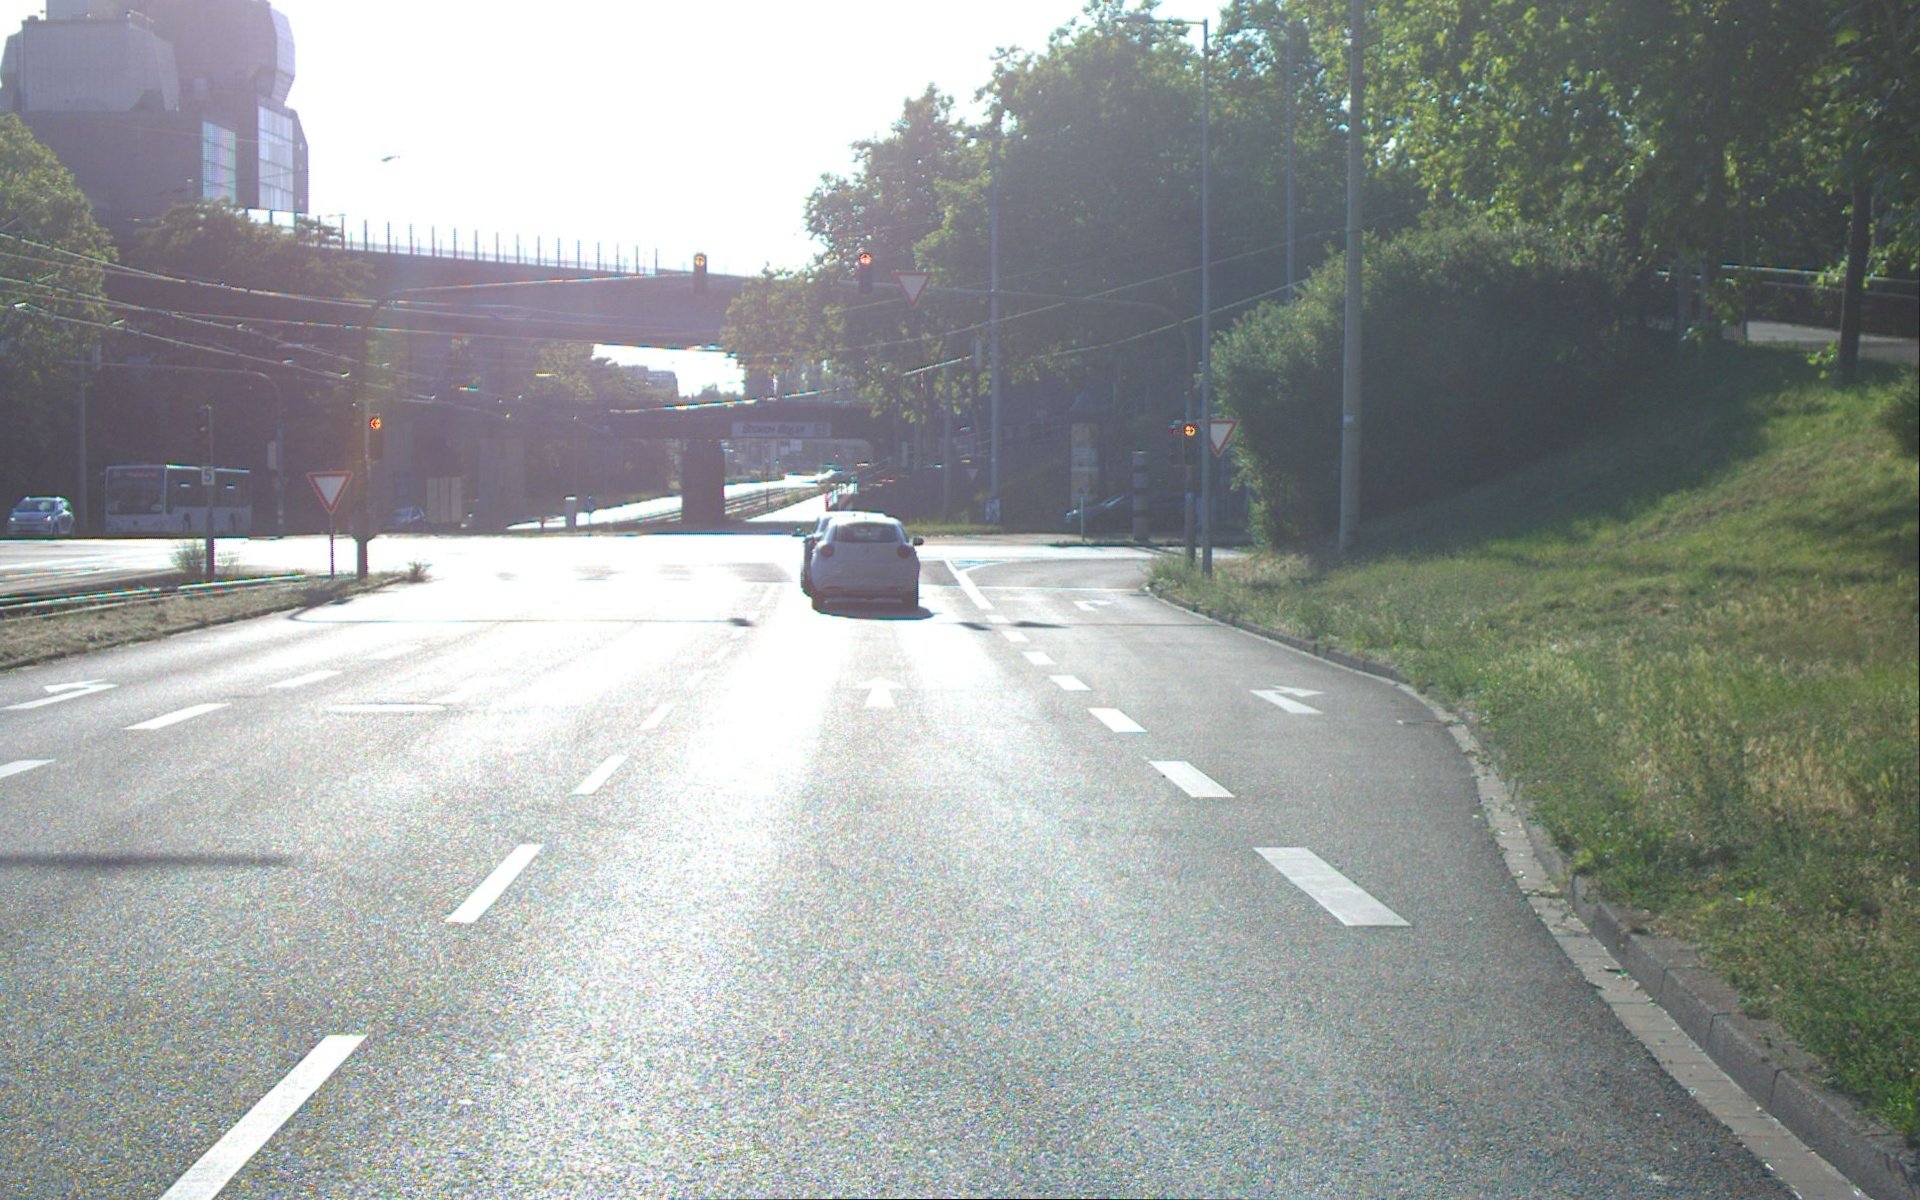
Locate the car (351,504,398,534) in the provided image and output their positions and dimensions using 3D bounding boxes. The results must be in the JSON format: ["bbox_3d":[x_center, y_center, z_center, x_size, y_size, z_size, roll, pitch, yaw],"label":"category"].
[{"bbox_3d":[-29.144,-4.031,171.223,1.606,1.414,4.008,1,2,0],"label":"car"}]

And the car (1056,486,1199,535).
[{"bbox_3d":[5.737,-3.069,117.849,4.574,1.569,1.694,0,2,-18],"label":"car"}]

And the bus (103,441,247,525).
[{"bbox_3d":[-31.425,-4.634,138.159,2.543,3.119,12.918,0,1,1],"label":"bus"}]

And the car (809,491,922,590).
[{"bbox_3d":[-1.552,-0.988,55.242,1.736,1.500,4.001,0,2,-2],"label":"car"}]

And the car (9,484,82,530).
[{"bbox_3d":[-31.528,-3.207,118.574,1.606,1.507,4.009,1,2,-3],"label":"car"}]
